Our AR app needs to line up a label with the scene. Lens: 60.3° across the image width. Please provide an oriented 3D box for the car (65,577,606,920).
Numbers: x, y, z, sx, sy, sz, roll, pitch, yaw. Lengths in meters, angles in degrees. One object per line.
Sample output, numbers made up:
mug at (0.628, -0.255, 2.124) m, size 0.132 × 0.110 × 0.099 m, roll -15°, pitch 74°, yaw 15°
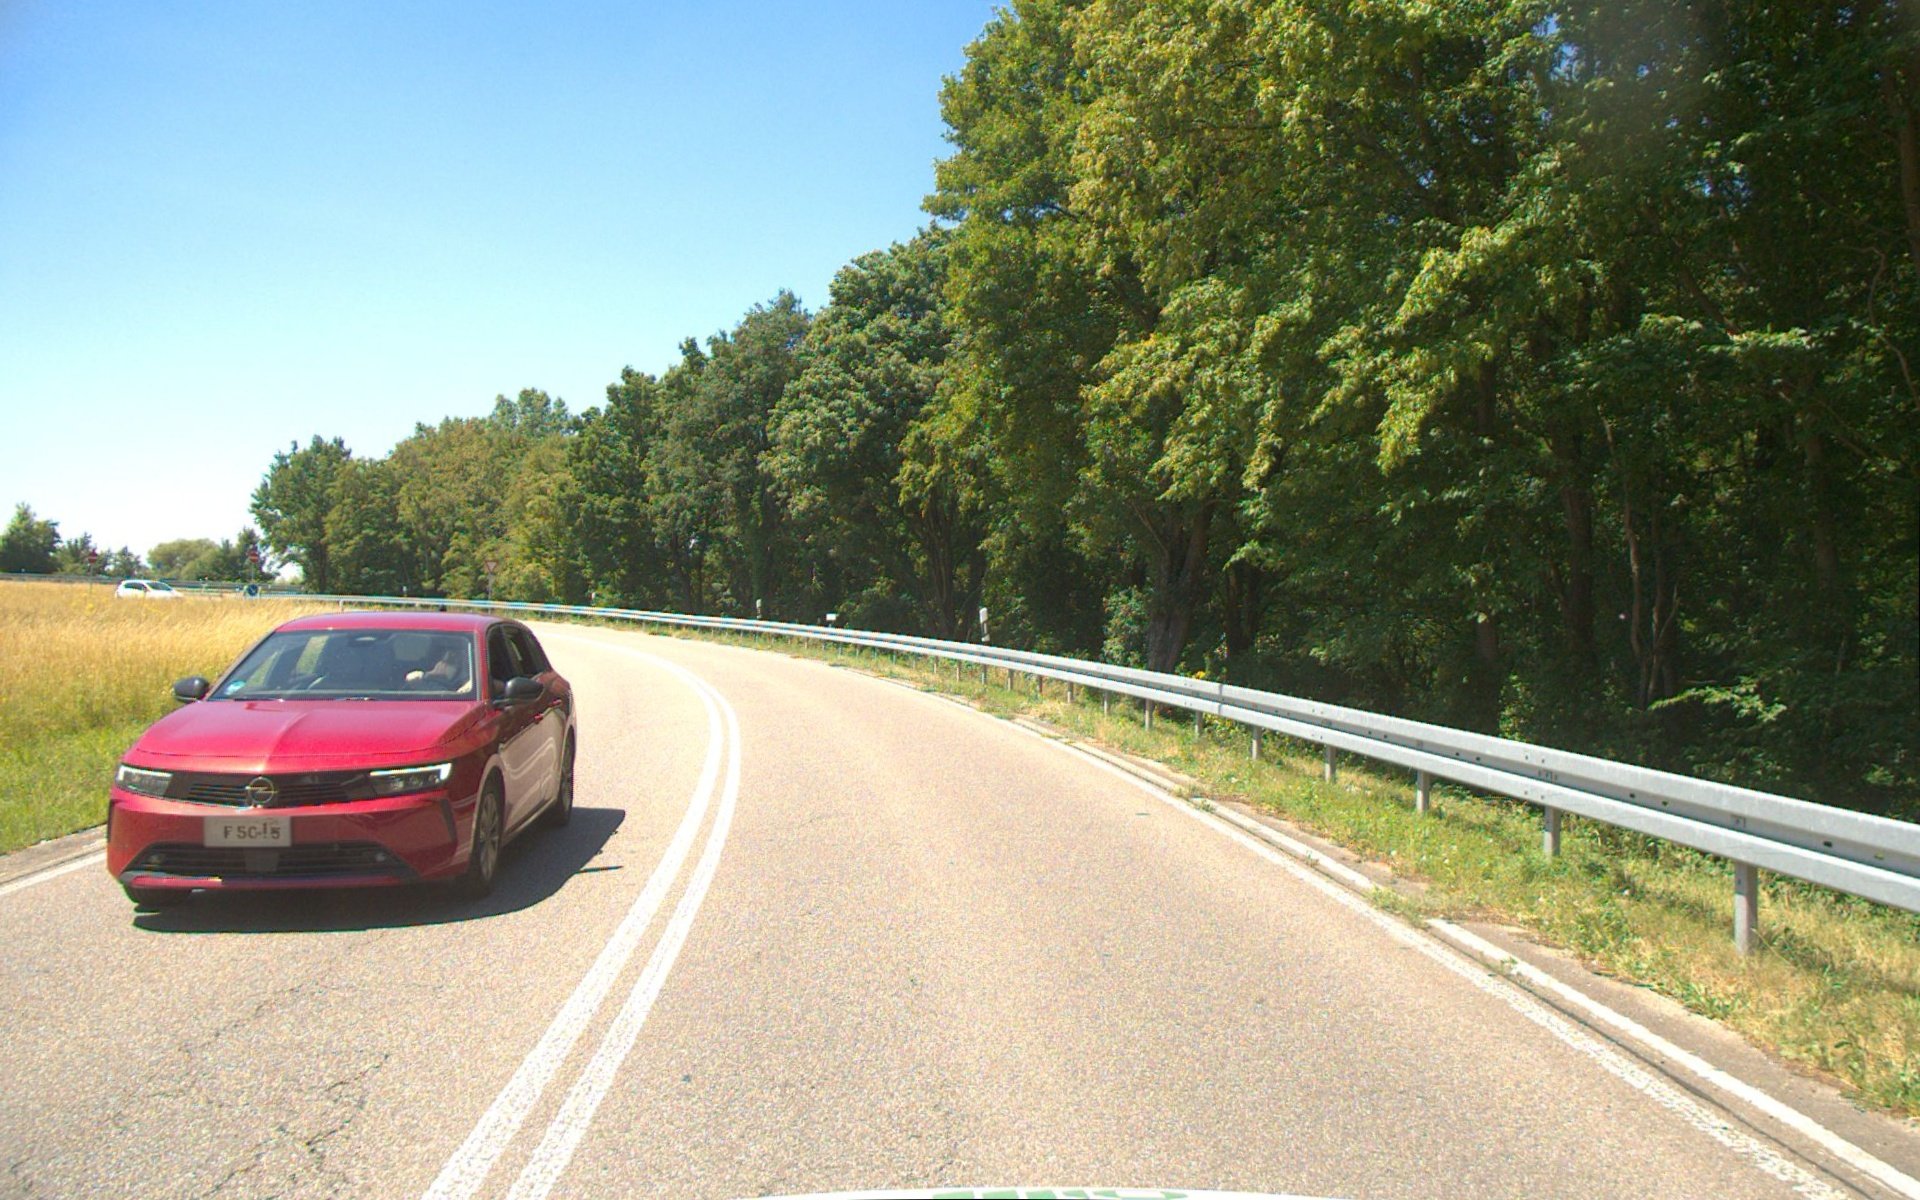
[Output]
car at (-3.329, 0.753, 9.790) m, size 1.787 × 1.483 × 4.395 m, roll -2°, pitch -2°, yaw -5°

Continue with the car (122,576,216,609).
car at (-41.467, -0.387, 86.719) m, size 4.070 × 1.533 × 1.830 m, roll 2°, pitch 0°, yaw 9°
